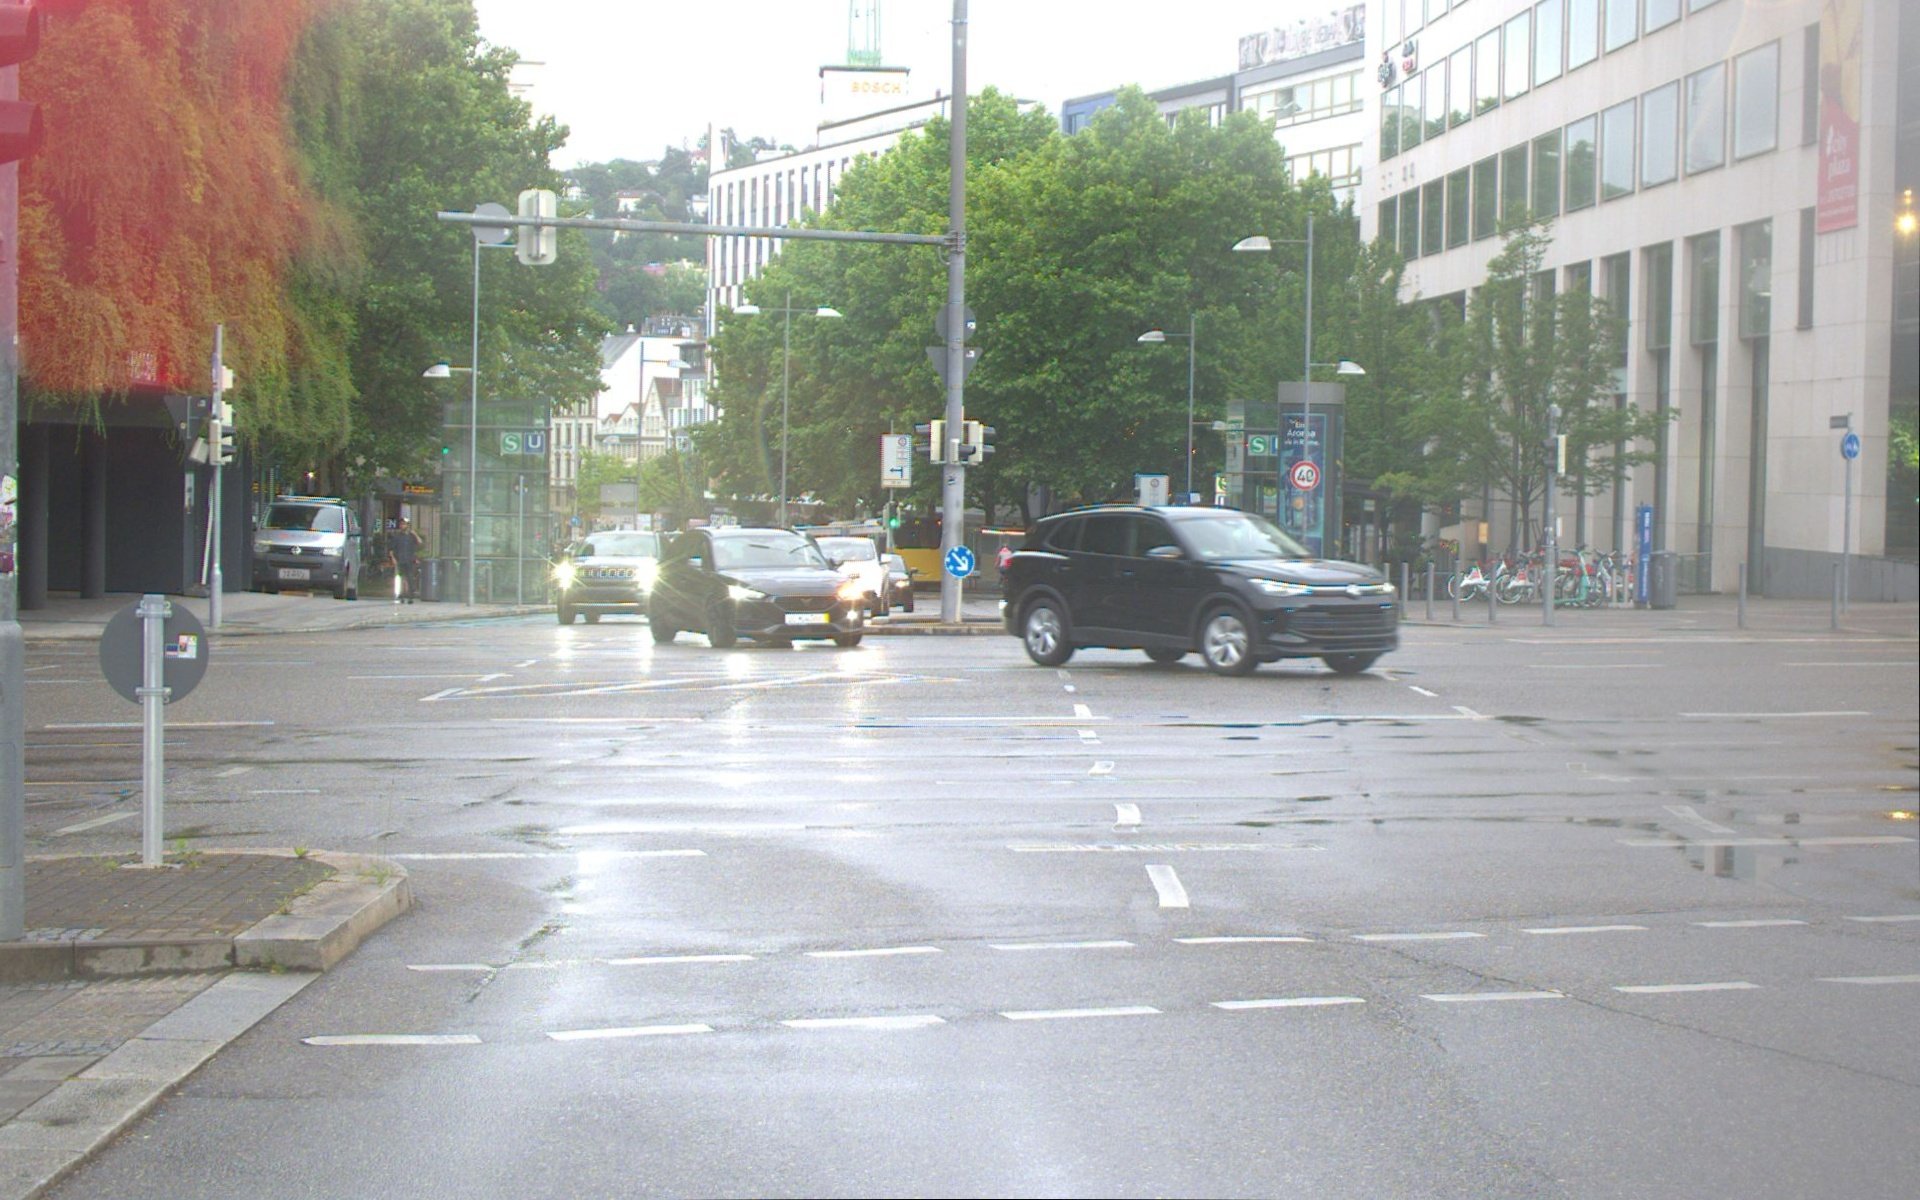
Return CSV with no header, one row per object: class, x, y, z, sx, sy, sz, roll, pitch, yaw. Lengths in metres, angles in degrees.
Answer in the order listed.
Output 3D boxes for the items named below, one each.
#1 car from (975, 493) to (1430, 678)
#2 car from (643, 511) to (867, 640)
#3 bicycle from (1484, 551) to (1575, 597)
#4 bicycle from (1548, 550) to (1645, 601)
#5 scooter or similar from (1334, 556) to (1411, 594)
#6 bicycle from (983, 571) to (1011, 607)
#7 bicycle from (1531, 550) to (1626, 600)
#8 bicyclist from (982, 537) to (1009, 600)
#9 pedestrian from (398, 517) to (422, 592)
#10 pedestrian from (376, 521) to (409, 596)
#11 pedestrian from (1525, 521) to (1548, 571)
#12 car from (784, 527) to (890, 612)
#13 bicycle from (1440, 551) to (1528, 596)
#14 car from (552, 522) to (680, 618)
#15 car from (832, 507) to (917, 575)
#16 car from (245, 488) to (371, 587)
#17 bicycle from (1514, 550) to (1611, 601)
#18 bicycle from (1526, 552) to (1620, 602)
car,2.327,-0.204,33.927,1.965,1.649,4.362,-2,3,-41
car,-2.552,-0.338,41.716,1.855,1.443,4.622,0,2,-15
bicycle,11.734,-0.528,70.901,1.794,0.931,0.475,0,1,3
bicycle,12.009,-0.468,64.861,1.799,0.931,0.474,1,1,41
scooter or similar,9.594,-0.576,79.910,1.745,0.875,0.489,0,1,-19
bicycle,1.163,-0.351,108.028,0.791,1.113,2.256,0,1,-1
bicycle,11.835,-0.483,65.827,1.799,0.931,0.474,1,1,41
bicyclist,1.115,-1.003,108.016,0.791,1.968,1.114,0,1,-2
pedestrian,-11.267,-0.932,70.428,0.436,1.519,0.548,0,1,-5
pedestrian,-11.625,-0.851,70.412,0.607,1.519,0.588,0,1,-5
pedestrian,13.529,-1.275,80.655,0.353,1.169,0.415,0,1,-33
car,-2.474,-0.637,68.351,1.993,1.524,4.557,0,2,-3
bicycle,11.083,-0.560,72.749,1.794,0.931,0.475,0,1,3
car,-5.934,-0.542,59.702,1.993,1.592,4.466,0,1,-3
car,-2.112,-1.457,83.473,1.993,1.524,4.557,0,2,-2
car,-12.914,-1.253,68.300,1.993,1.888,4.466,0,1,-5
bicycle,11.245,-0.459,64.219,1.799,0.931,0.474,1,1,41
bicycle,11.864,-0.456,66.573,1.799,0.931,0.474,1,1,41
